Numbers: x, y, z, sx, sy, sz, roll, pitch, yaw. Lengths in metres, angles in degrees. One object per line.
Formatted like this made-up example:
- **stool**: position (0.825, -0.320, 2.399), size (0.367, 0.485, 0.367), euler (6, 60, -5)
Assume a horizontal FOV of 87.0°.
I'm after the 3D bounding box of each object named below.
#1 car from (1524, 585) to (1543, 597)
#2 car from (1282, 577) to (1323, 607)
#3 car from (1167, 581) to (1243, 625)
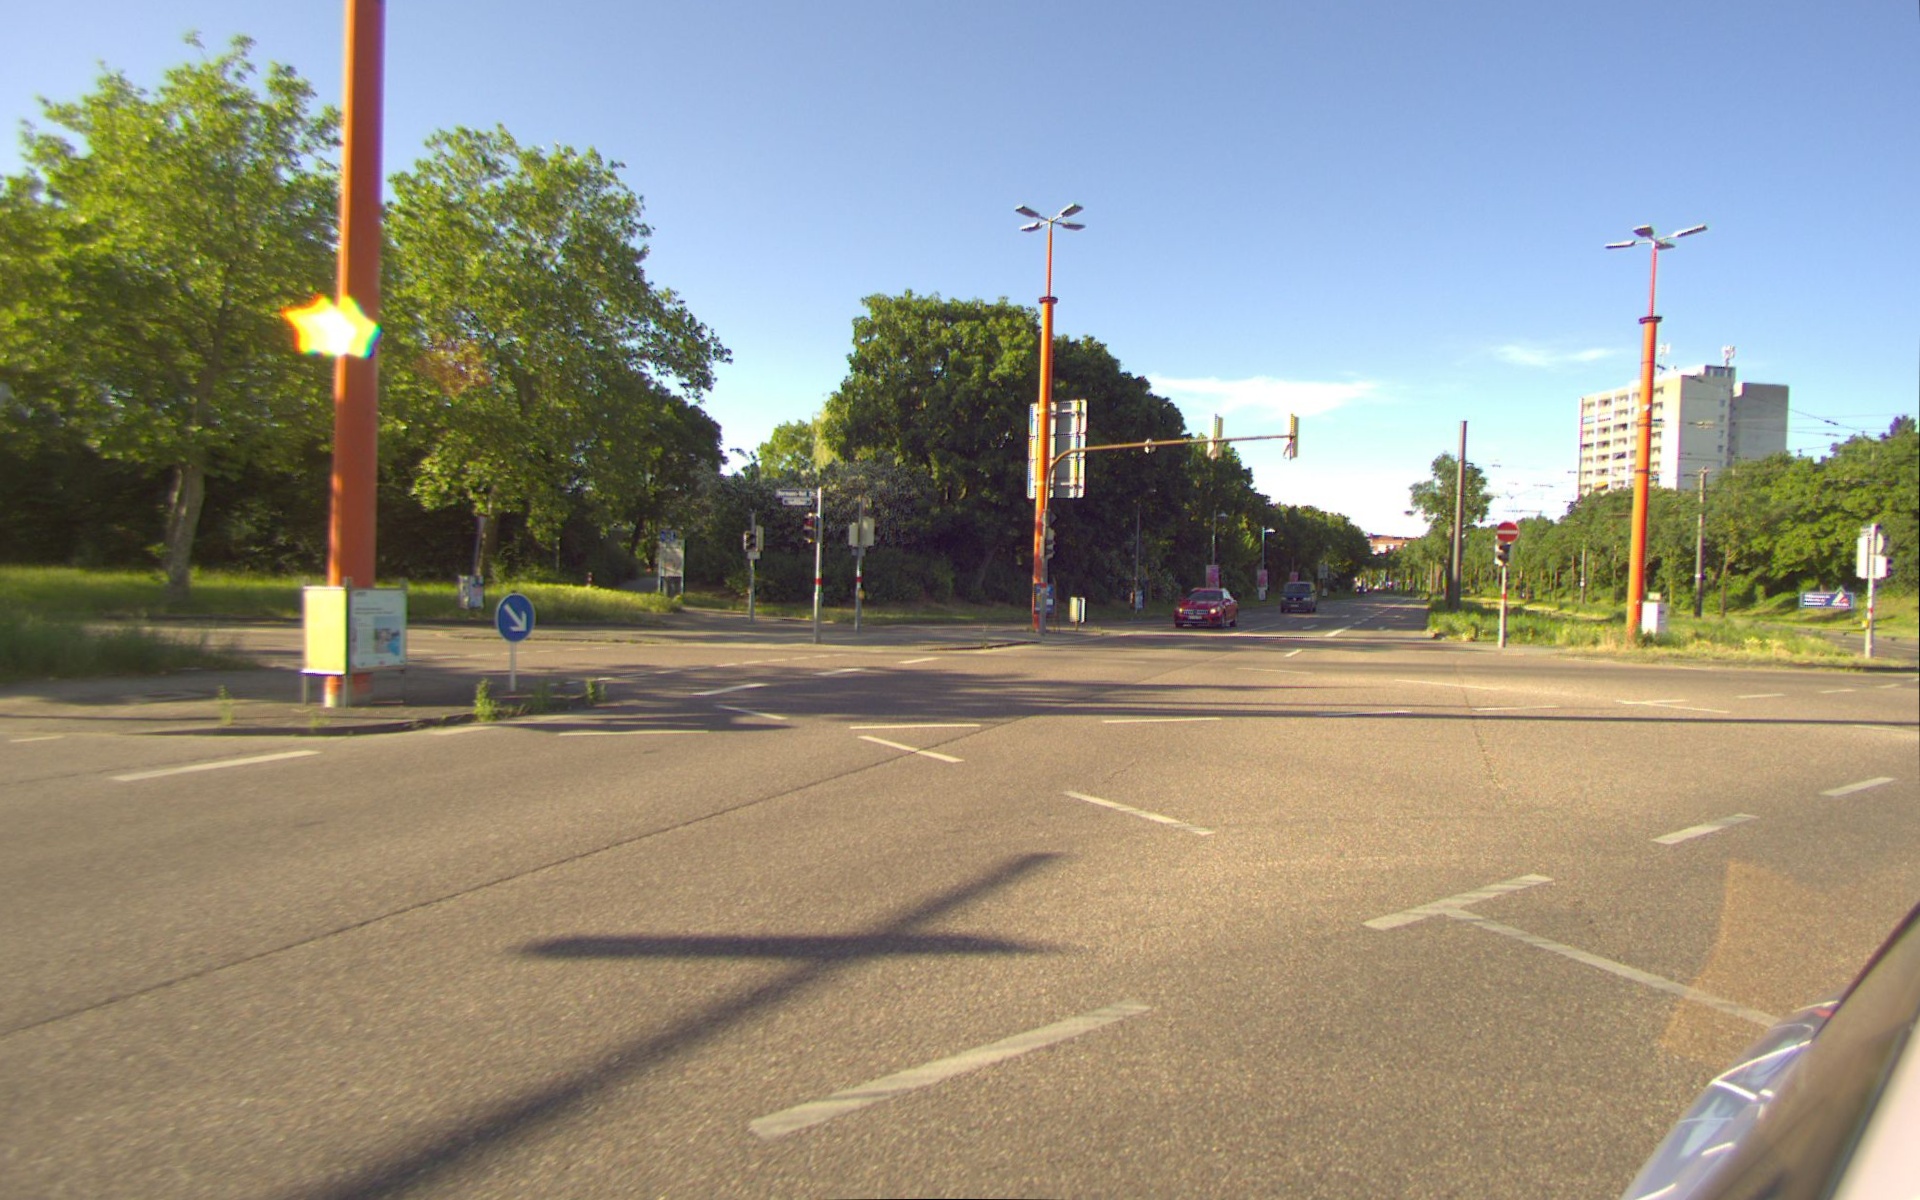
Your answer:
- **car**: position (87.112, -1.380, 153.846), size (1.979, 1.725, 4.655), euler (2, 1, 24)
- **car**: position (21.987, -0.515, 64.854), size (1.979, 1.753, 4.777), euler (2, 1, 25)
- **car**: position (9.315, 0.087, 38.283), size (1.979, 1.513, 4.252), euler (3, 1, 25)
